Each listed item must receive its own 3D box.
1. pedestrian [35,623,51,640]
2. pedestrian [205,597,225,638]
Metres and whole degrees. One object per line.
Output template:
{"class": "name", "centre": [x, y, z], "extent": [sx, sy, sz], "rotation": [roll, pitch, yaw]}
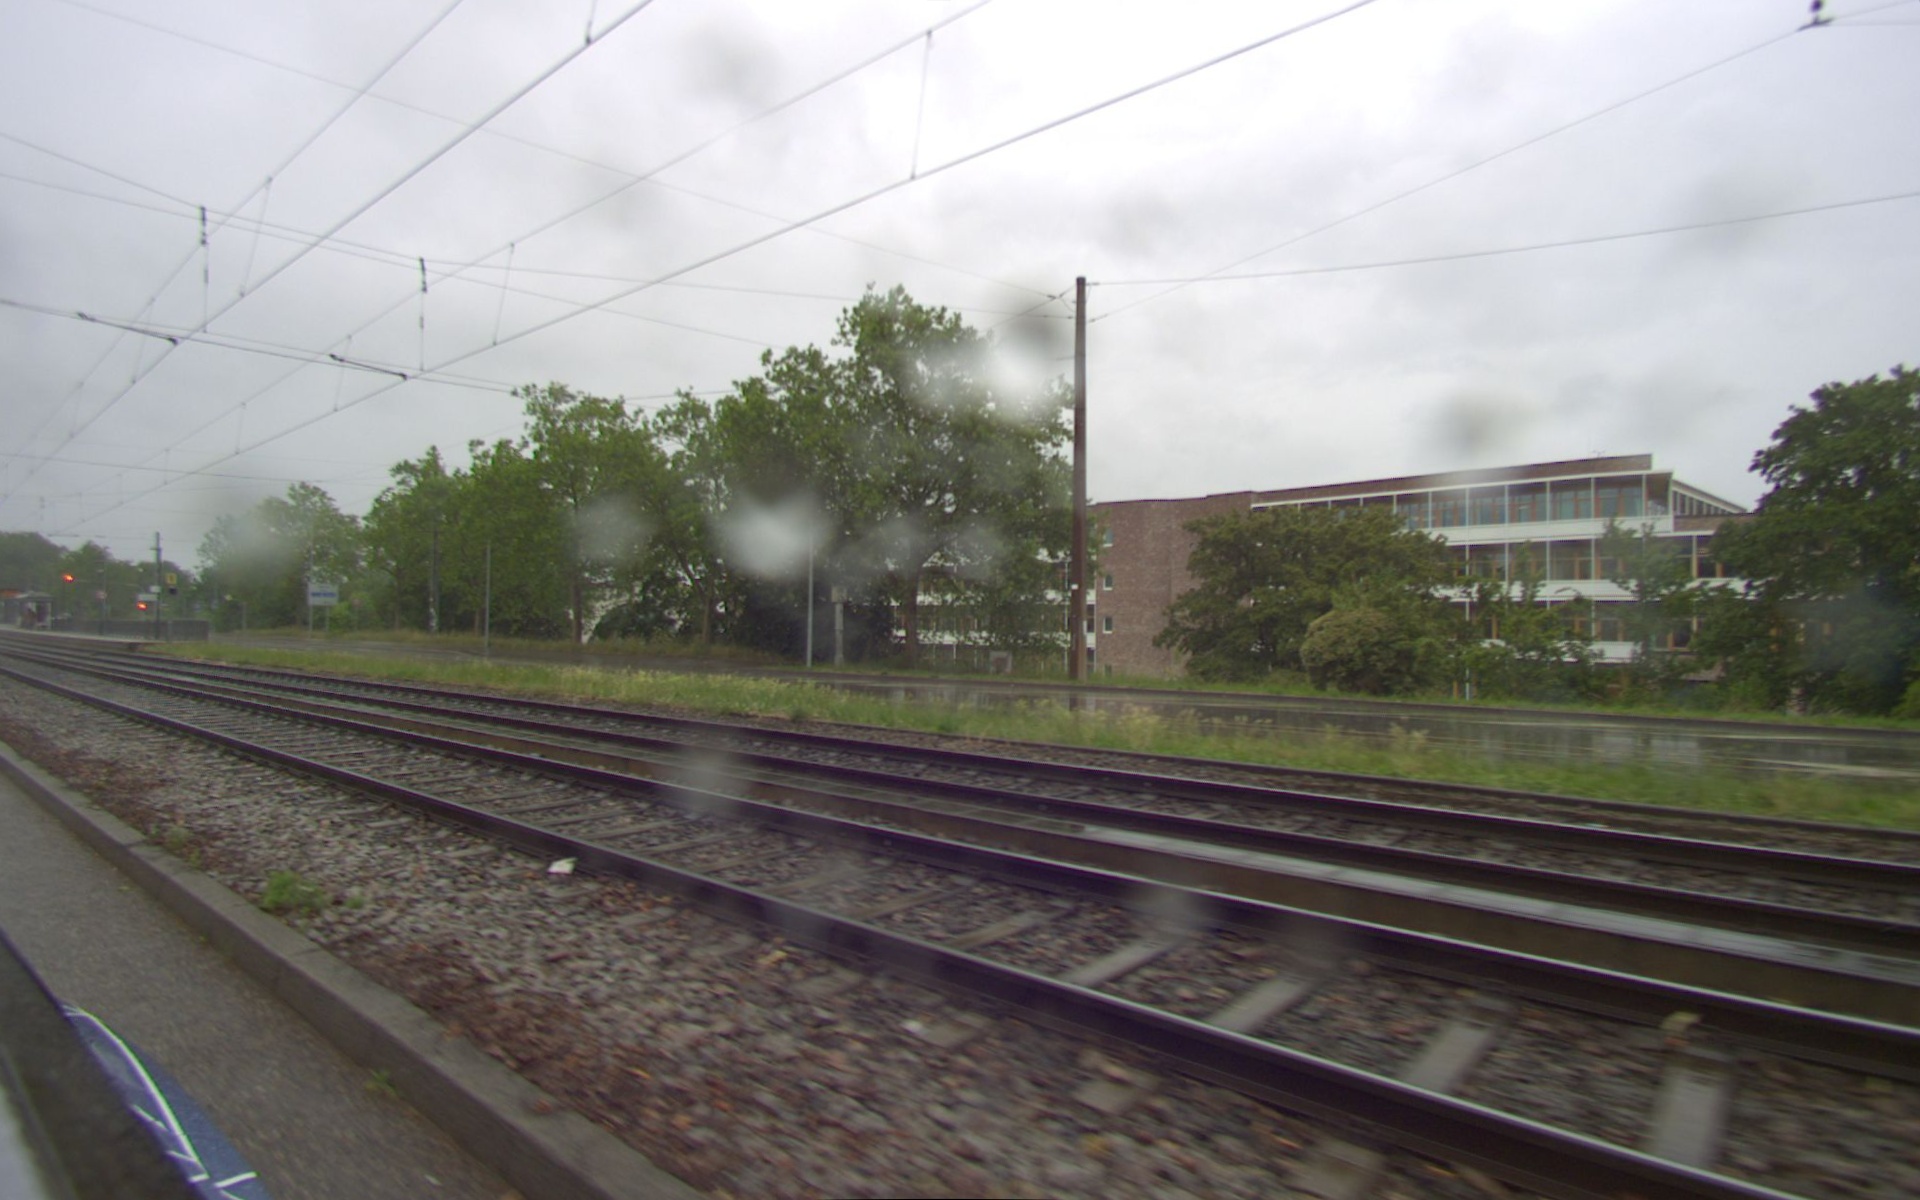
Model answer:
{"class": "pedestrian", "centre": [-72.179, 2.452, 79.658], "extent": [0.858, 1.326, 0.822], "rotation": [-1, 0, 42]}
{"class": "pedestrian", "centre": [-73.348, 1.724, 99.658], "extent": [1.152, 4.059, 1.524], "rotation": [0, 0, -20]}
